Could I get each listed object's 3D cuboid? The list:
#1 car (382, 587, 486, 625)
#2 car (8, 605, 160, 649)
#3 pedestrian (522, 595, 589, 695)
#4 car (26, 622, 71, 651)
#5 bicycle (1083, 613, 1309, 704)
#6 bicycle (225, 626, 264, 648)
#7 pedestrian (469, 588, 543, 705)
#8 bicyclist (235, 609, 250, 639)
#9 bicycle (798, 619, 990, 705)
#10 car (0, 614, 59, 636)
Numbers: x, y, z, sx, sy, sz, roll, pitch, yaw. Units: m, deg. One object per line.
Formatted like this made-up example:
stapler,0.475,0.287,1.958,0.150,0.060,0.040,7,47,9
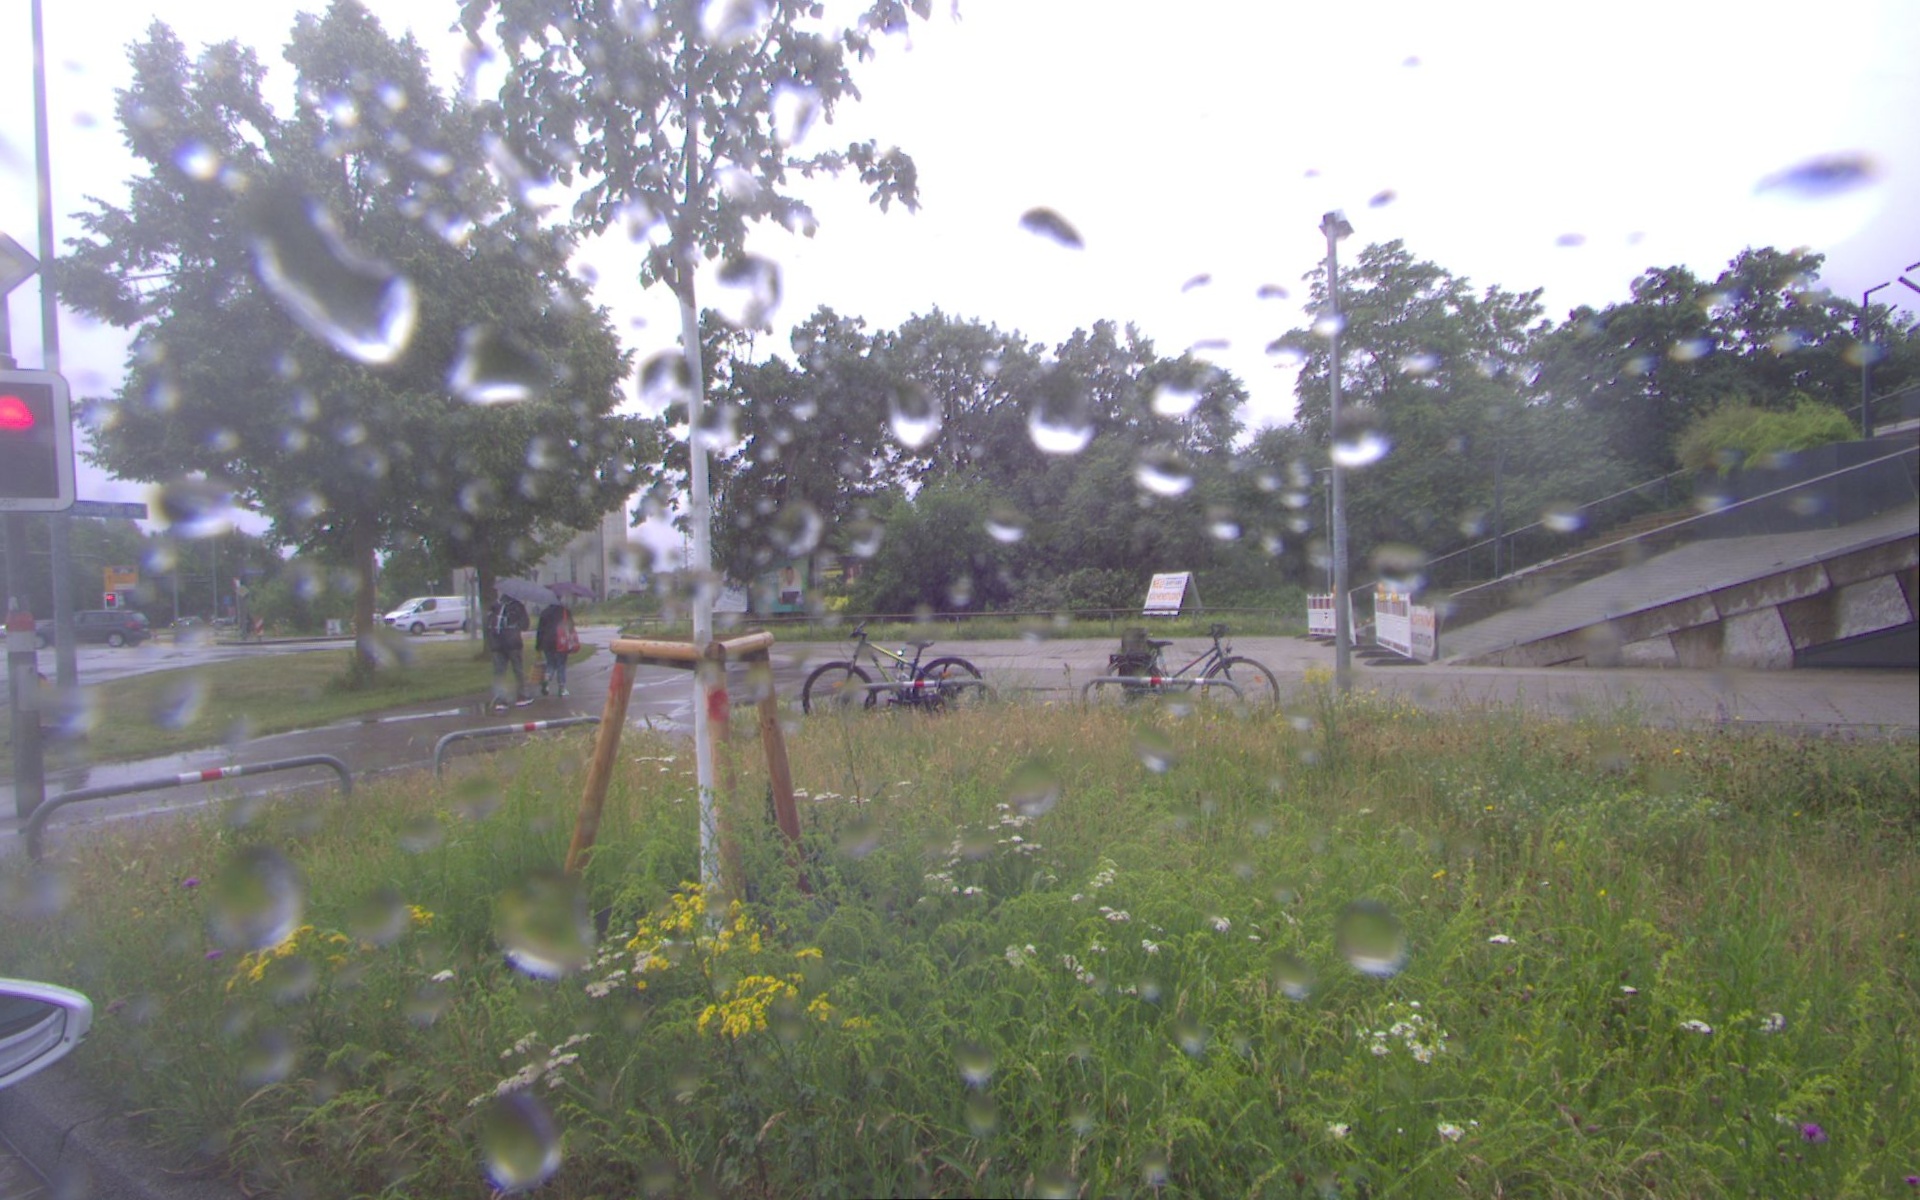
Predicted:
car,-28.285,0.387,54.050,1.968,1.874,4.761,-1,-2,26
car,-39.180,1.222,44.934,4.697,1.874,1.995,0,-2,-22
pedestrian,-6.182,0.673,15.318,0.564,1.480,0.679,-1,1,28
car,-49.920,1.977,54.826,3.947,1.473,1.608,-1,0,45
bicycle,2.151,0.538,9.238,1.972,0.796,0.454,-1,-2,16
bicycle,-42.568,2.208,59.597,2.466,1.330,0.571,-1,-2,20
pedestrian,-6.204,0.628,13.696,0.730,1.542,0.620,-1,-1,31
bicyclist,-42.715,1.454,59.625,0.580,1.764,0.496,-1,-2,18
bicycle,-0.630,0.599,9.699,1.823,0.797,0.380,0,-2,-2
car,-76.742,2.030,82.636,1.770,1.684,4.401,-1,0,-16
